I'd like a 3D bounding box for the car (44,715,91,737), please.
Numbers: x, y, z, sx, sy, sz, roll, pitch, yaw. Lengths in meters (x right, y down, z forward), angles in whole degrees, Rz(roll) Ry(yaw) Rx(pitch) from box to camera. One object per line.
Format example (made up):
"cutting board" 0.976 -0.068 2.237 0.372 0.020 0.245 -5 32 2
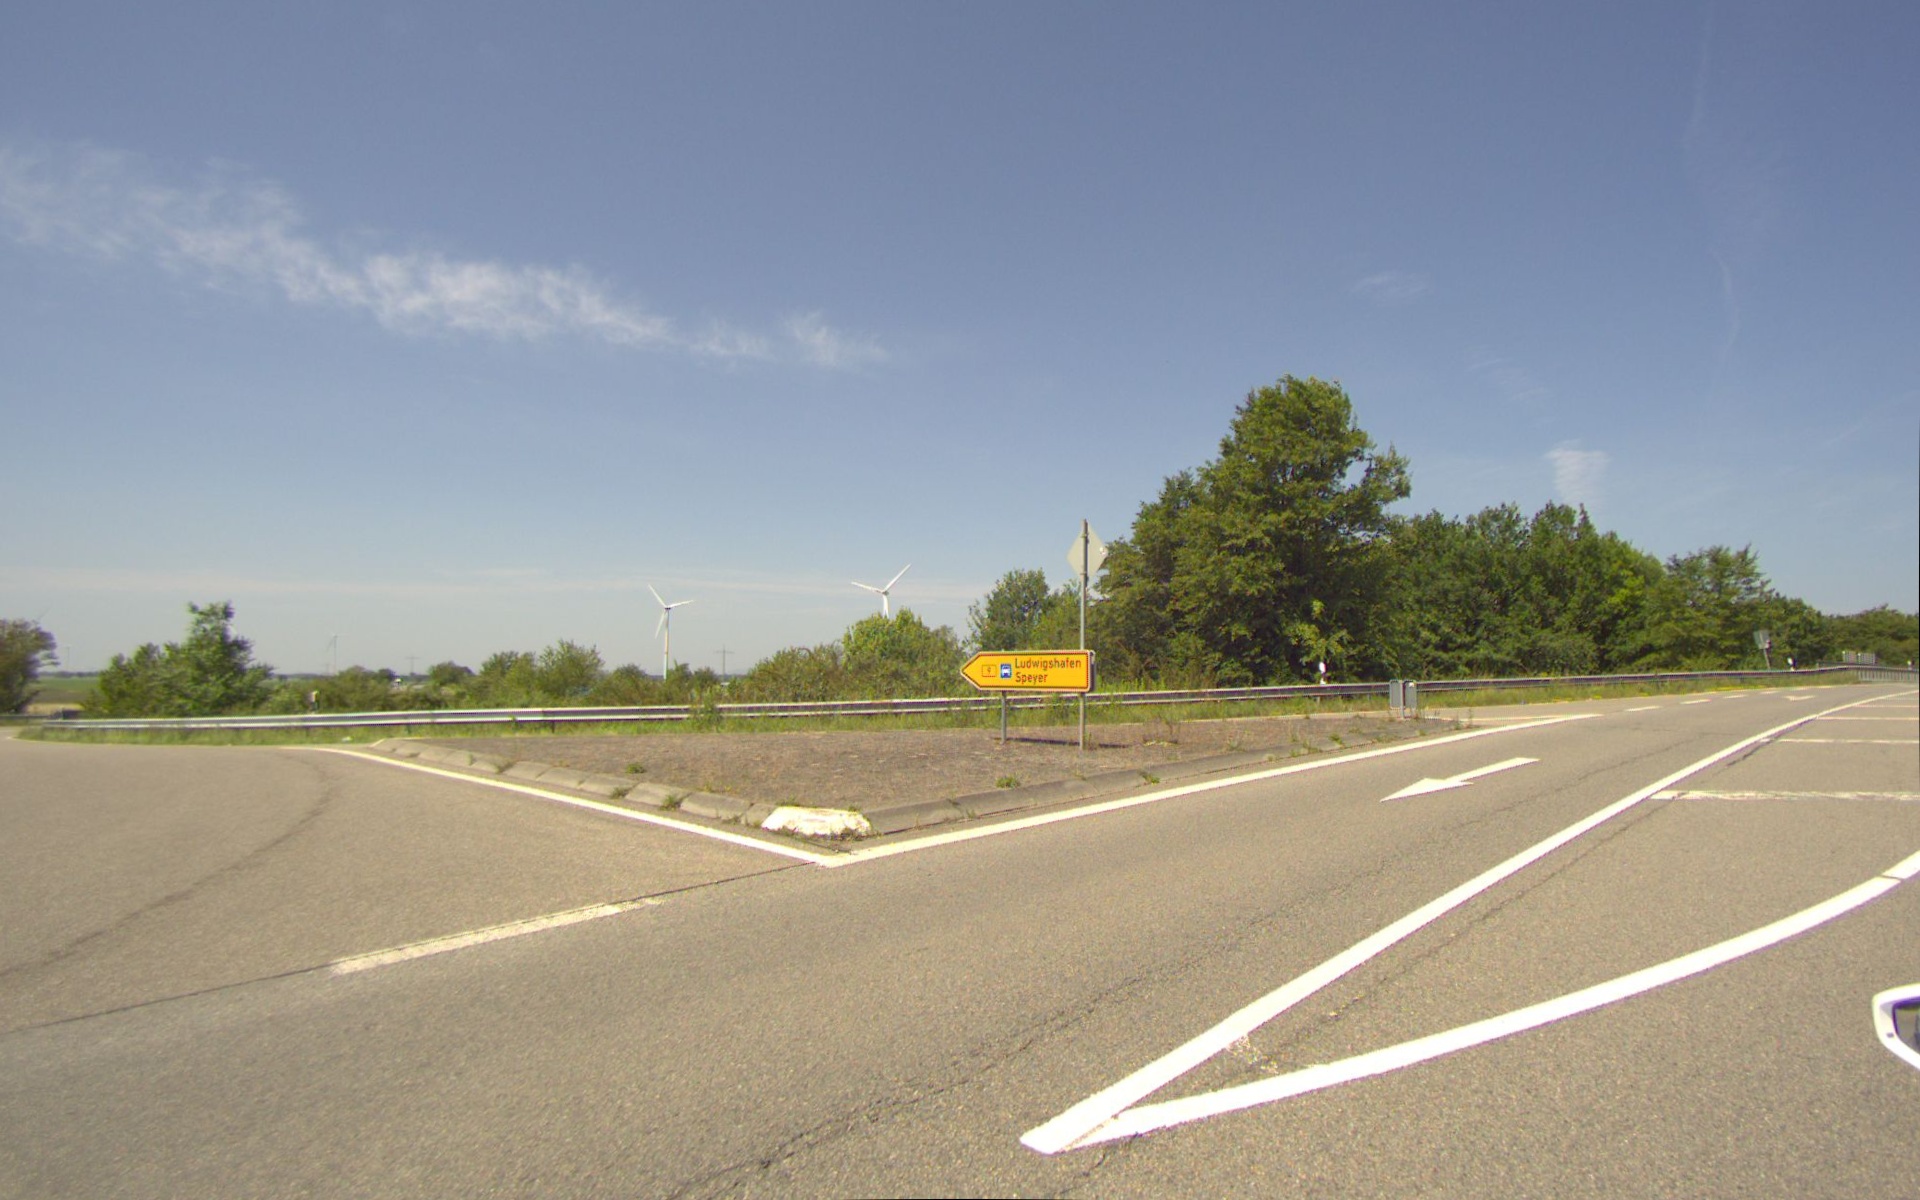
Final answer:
"car" -61.729 8.731 69.538 1.695 1.413 3.857 4 -8 -31
